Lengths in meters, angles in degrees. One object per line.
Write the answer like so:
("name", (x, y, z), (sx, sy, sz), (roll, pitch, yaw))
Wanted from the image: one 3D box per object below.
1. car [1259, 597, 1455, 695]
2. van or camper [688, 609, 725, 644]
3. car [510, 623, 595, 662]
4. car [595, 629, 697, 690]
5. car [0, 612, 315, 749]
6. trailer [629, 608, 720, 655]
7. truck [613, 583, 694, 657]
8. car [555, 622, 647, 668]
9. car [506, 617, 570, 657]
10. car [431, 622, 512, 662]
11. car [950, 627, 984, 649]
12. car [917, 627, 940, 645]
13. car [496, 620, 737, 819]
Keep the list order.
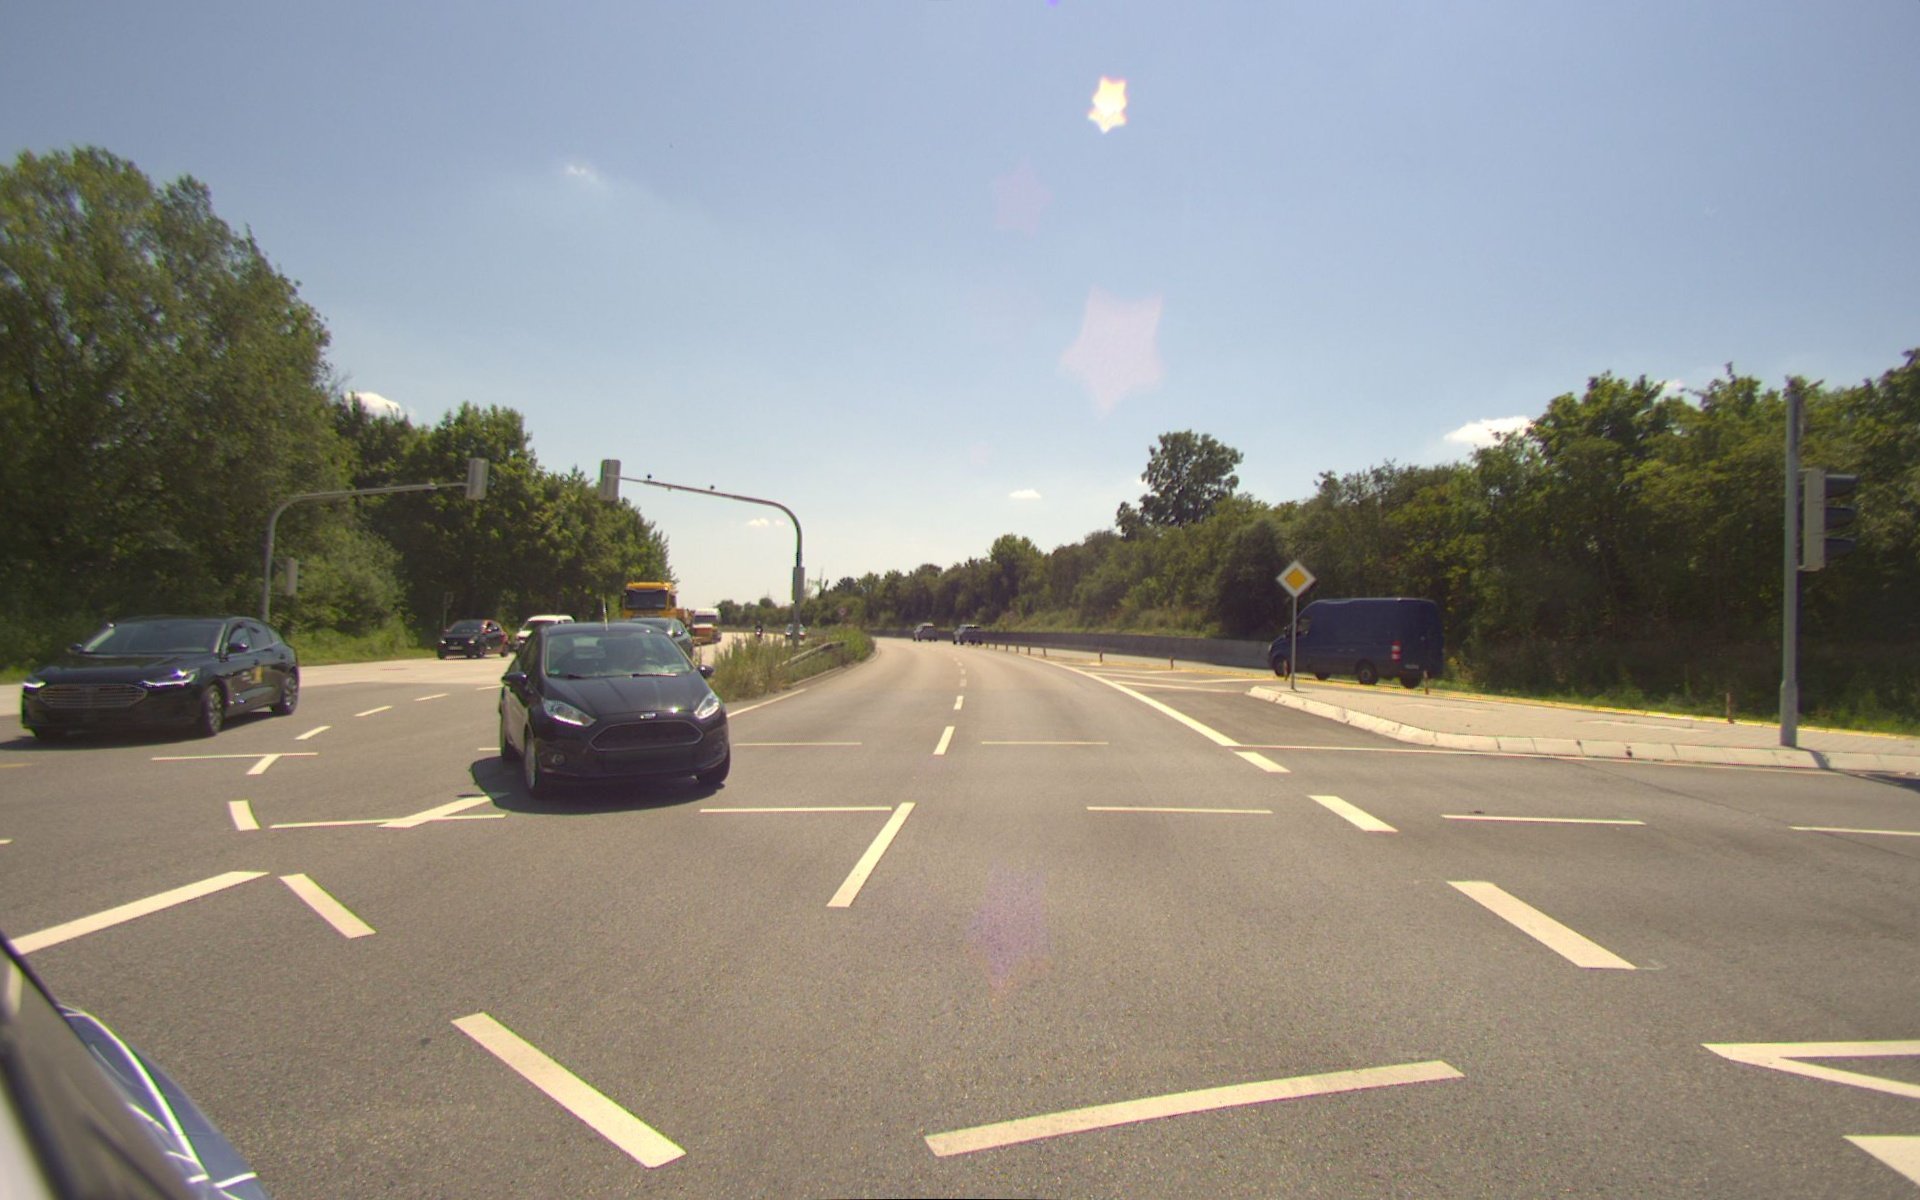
("car", (12.124, 1.360, 31.468), (2.030, 2.725, 5.916), (1, -2, -25))
("van or camper", (-19.551, 2.059, 78.338), (2.037, 2.593, 5.916), (1, -1, -7))
("car", (-15.993, 1.643, 39.938), (1.747, 1.421, 4.613), (0, -1, -4))
("car", (-8.150, 1.505, 26.596), (1.682, 1.475, 4.003), (0, -1, -4))
("car", (-10.092, 0.935, 13.058), (1.703, 1.450, 4.315), (1, -2, -14))
("trailer", (-17.818, 2.042, 64.428), (2.990, 2.613, 16.379), (1, -2, -7))
("truck", (-16.839, 1.156, 56.153), (2.976, 3.801, 7.480), (1, -2, -7))
("car", (-12.152, 1.494, 34.486), (1.864, 1.475, 4.002), (0, -1, -2))
("car", (-20.258, 1.736, 48.771), (1.745, 1.821, 4.801), (1, -1, -9))
("car", (-19.419, 1.641, 40.385), (1.746, 1.521, 3.656), (1, -1, -6))
("car", (0.569, 3.118, 83.331), (1.968, 1.705, 4.666), (1, -2, -10))
("car", (-3.278, 3.668, 104.108), (1.969, 1.786, 4.863), (1, -2, -5))
("car", (-3.480, 0.948, 9.765), (1.600, 1.496, 4.013), (1, -2, -27))
